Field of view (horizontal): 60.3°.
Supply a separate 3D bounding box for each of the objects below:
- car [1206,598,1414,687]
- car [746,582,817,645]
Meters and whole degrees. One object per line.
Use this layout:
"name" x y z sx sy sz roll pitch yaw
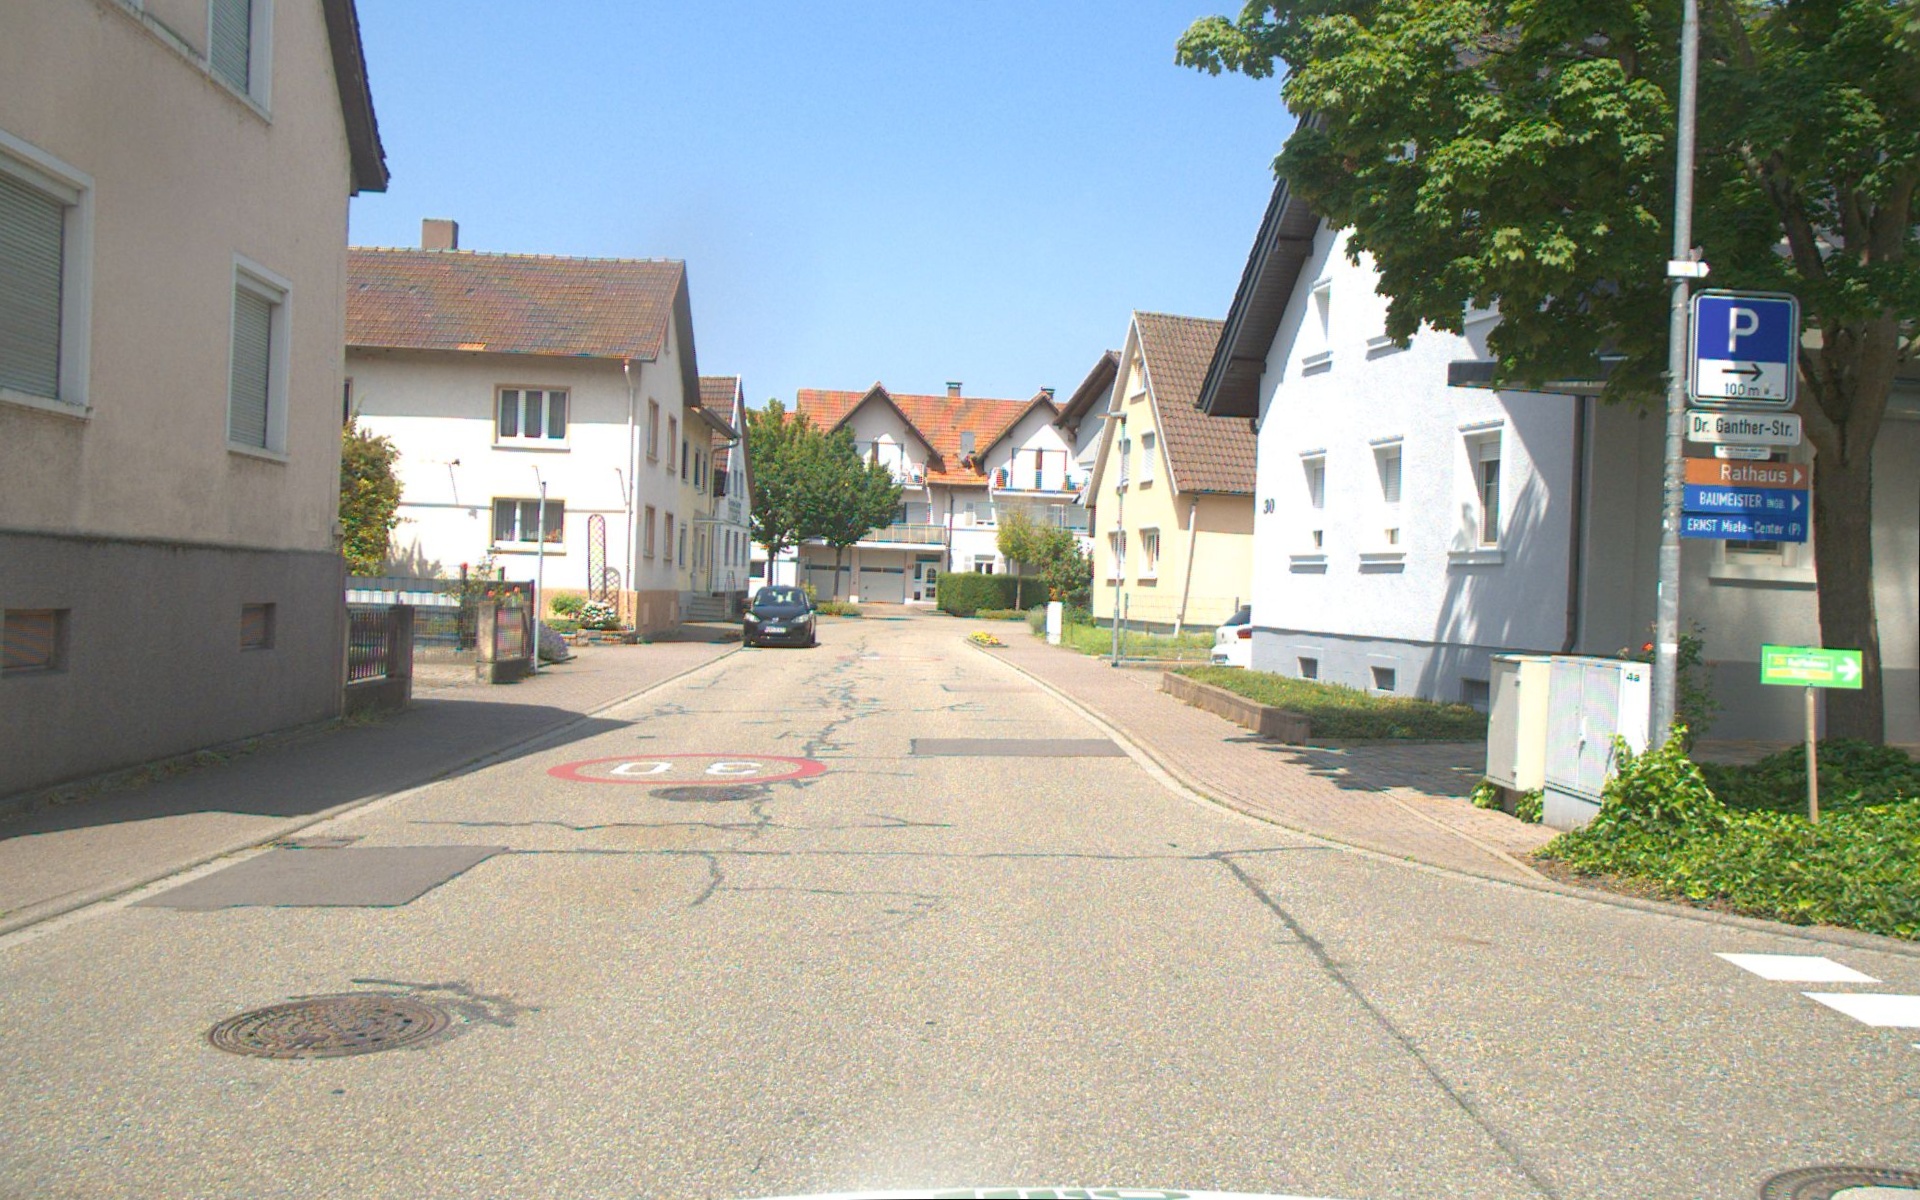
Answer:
"car" 5.637 0.679 26.800 2.987 1.369 1.419 1 -1 -10
"car" -4.475 0.300 41.836 1.594 1.512 3.997 1 1 -4
